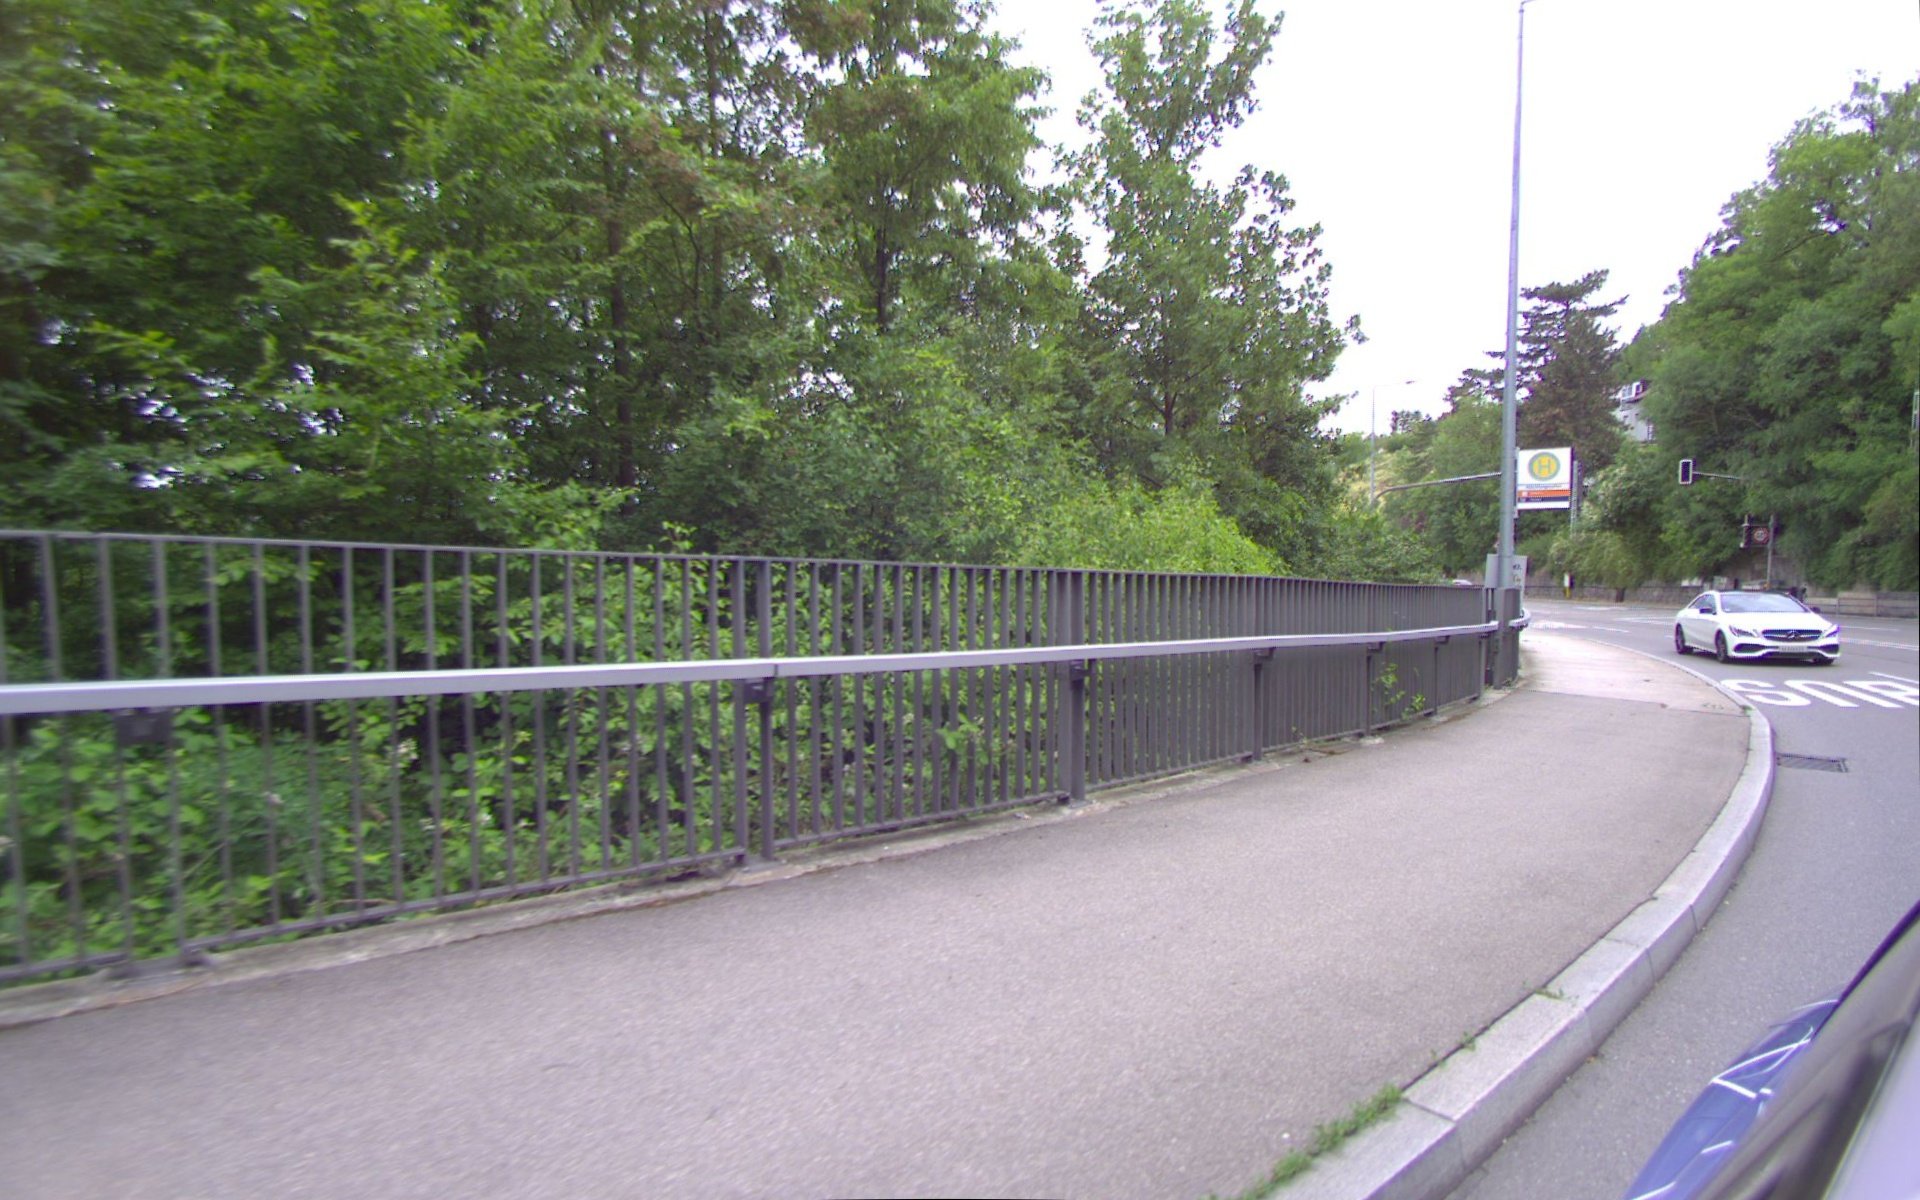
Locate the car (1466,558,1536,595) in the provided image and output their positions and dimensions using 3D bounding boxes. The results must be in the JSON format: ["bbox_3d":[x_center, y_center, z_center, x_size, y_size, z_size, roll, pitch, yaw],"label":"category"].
[{"bbox_3d":[25.488,-1.110,47.824,1.971,1.609,3.982,-3,1,15],"label":"car"}]

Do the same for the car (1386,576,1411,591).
[{"bbox_3d":[47.522,-1.783,109.761,1.792,1.452,4.230,-3,1,15],"label":"car"}]

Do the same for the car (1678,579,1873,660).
[{"bbox_3d":[16.342,0.367,20.564,1.882,1.445,4.233,-2,-1,22],"label":"car"}]

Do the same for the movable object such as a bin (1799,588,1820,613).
[{"bbox_3d":[33.470,0.026,39.893,0.422,0.962,0.477,-3,0,13],"label":"movable object such as a bin"}]
